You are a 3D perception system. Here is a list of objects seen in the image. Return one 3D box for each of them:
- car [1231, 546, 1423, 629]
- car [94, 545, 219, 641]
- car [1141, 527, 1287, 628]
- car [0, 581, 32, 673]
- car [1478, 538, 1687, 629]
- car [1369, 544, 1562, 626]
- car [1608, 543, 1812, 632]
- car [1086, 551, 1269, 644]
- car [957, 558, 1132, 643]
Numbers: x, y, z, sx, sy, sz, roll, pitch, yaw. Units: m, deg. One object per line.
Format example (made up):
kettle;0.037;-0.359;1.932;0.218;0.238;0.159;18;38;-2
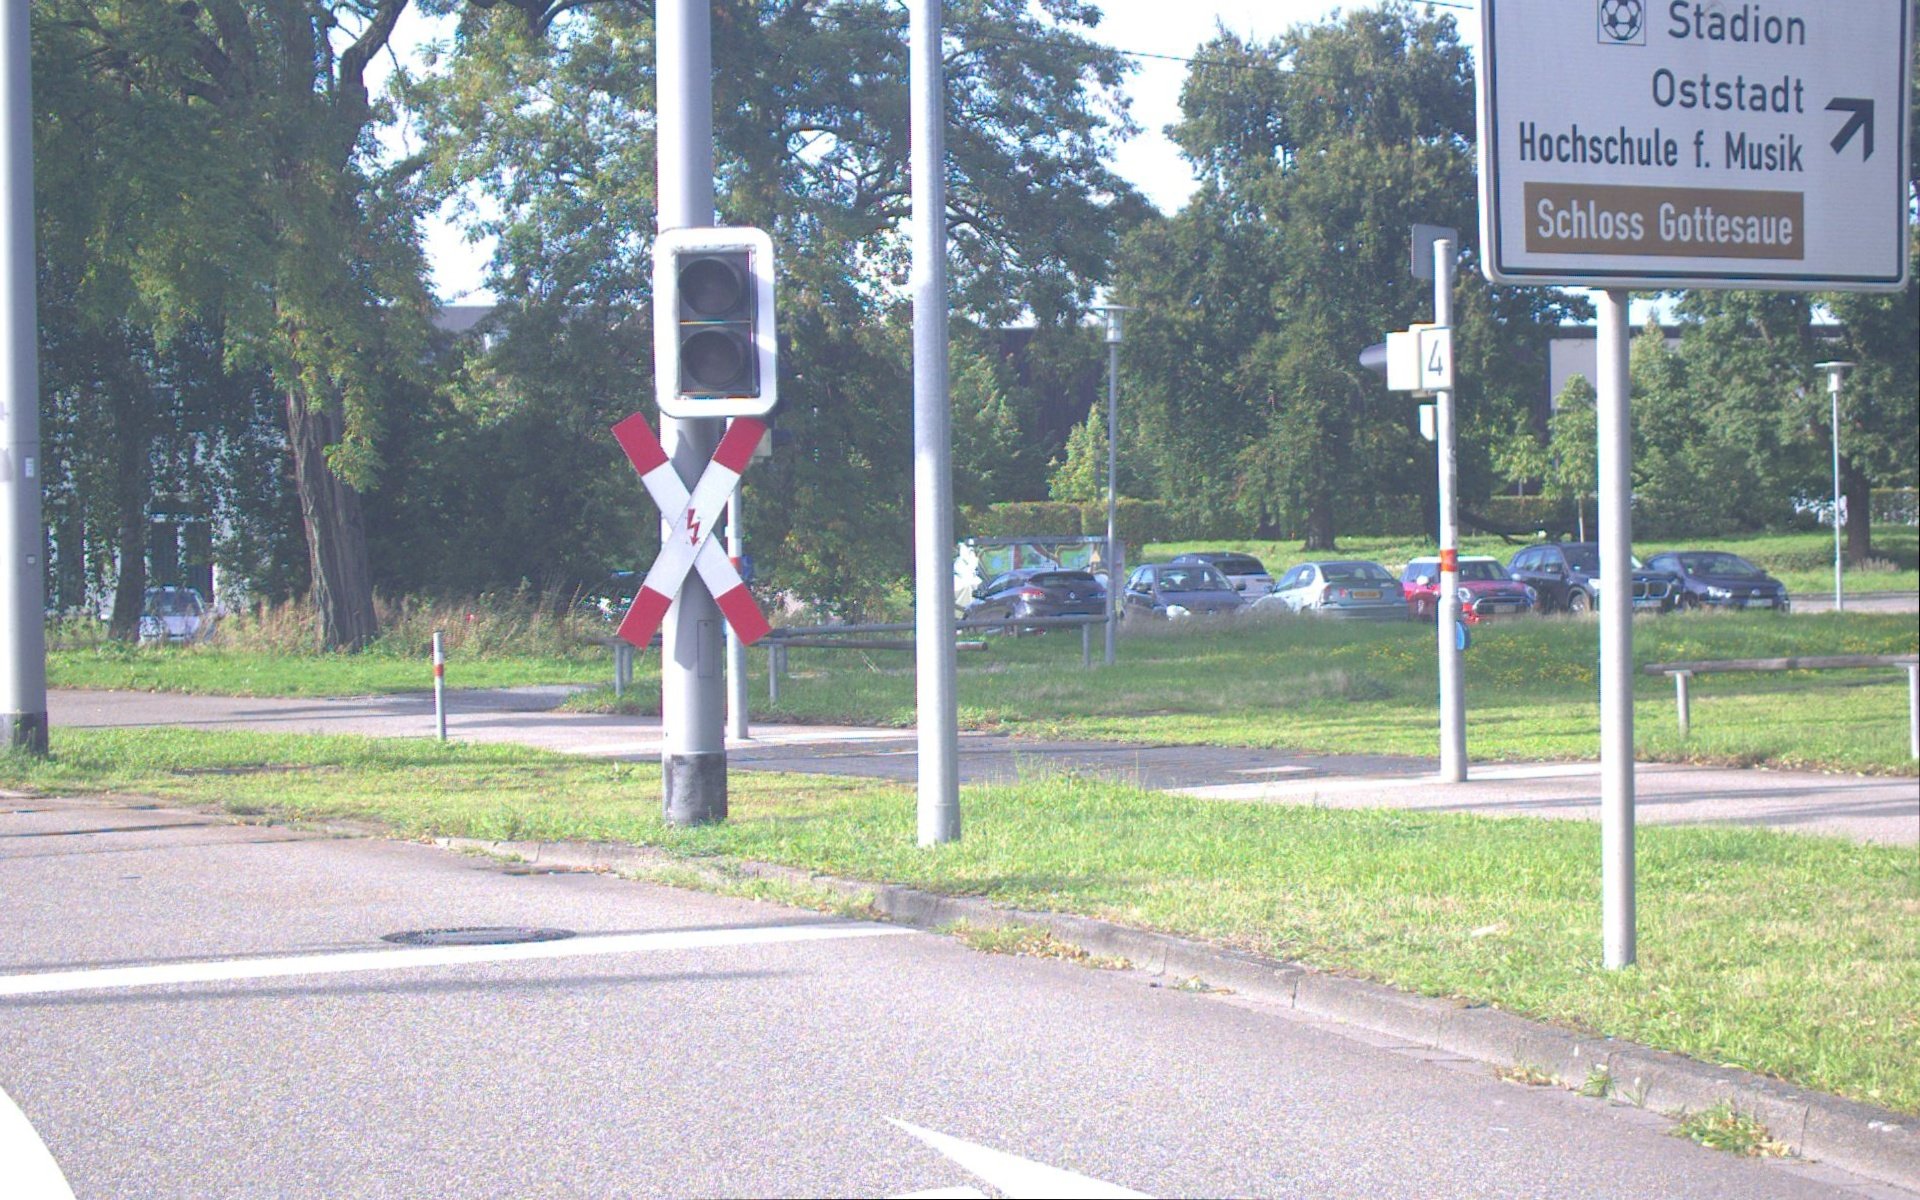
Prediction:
car;6.402;-0.227;60.527;1.854;1.353;4.835;-1;1;-13
car;-12.956;-0.125;55.519;1.854;1.435;4.735;-1;1;-13
car;5.297;-0.435;72.288;1.871;2.007;4.811;1;-1;-11
car;-15.770;0.417;54.497;1.854;1.376;4.516;-1;1;-13
car;11.032;-0.300;61.312;1.854;1.510;4.946;-1;1;-13
car;8.915;-0.276;60.994;1.854;1.358;4.470;-1;1;-13
car;13.504;-0.241;62.147;1.854;1.510;4.470;-1;1;-13
car;3.711;-0.061;59.481;1.854;1.510;4.749;-1;1;-13
car;1.389;-0.014;58.819;1.854;1.354;4.735;-1;1;-13
